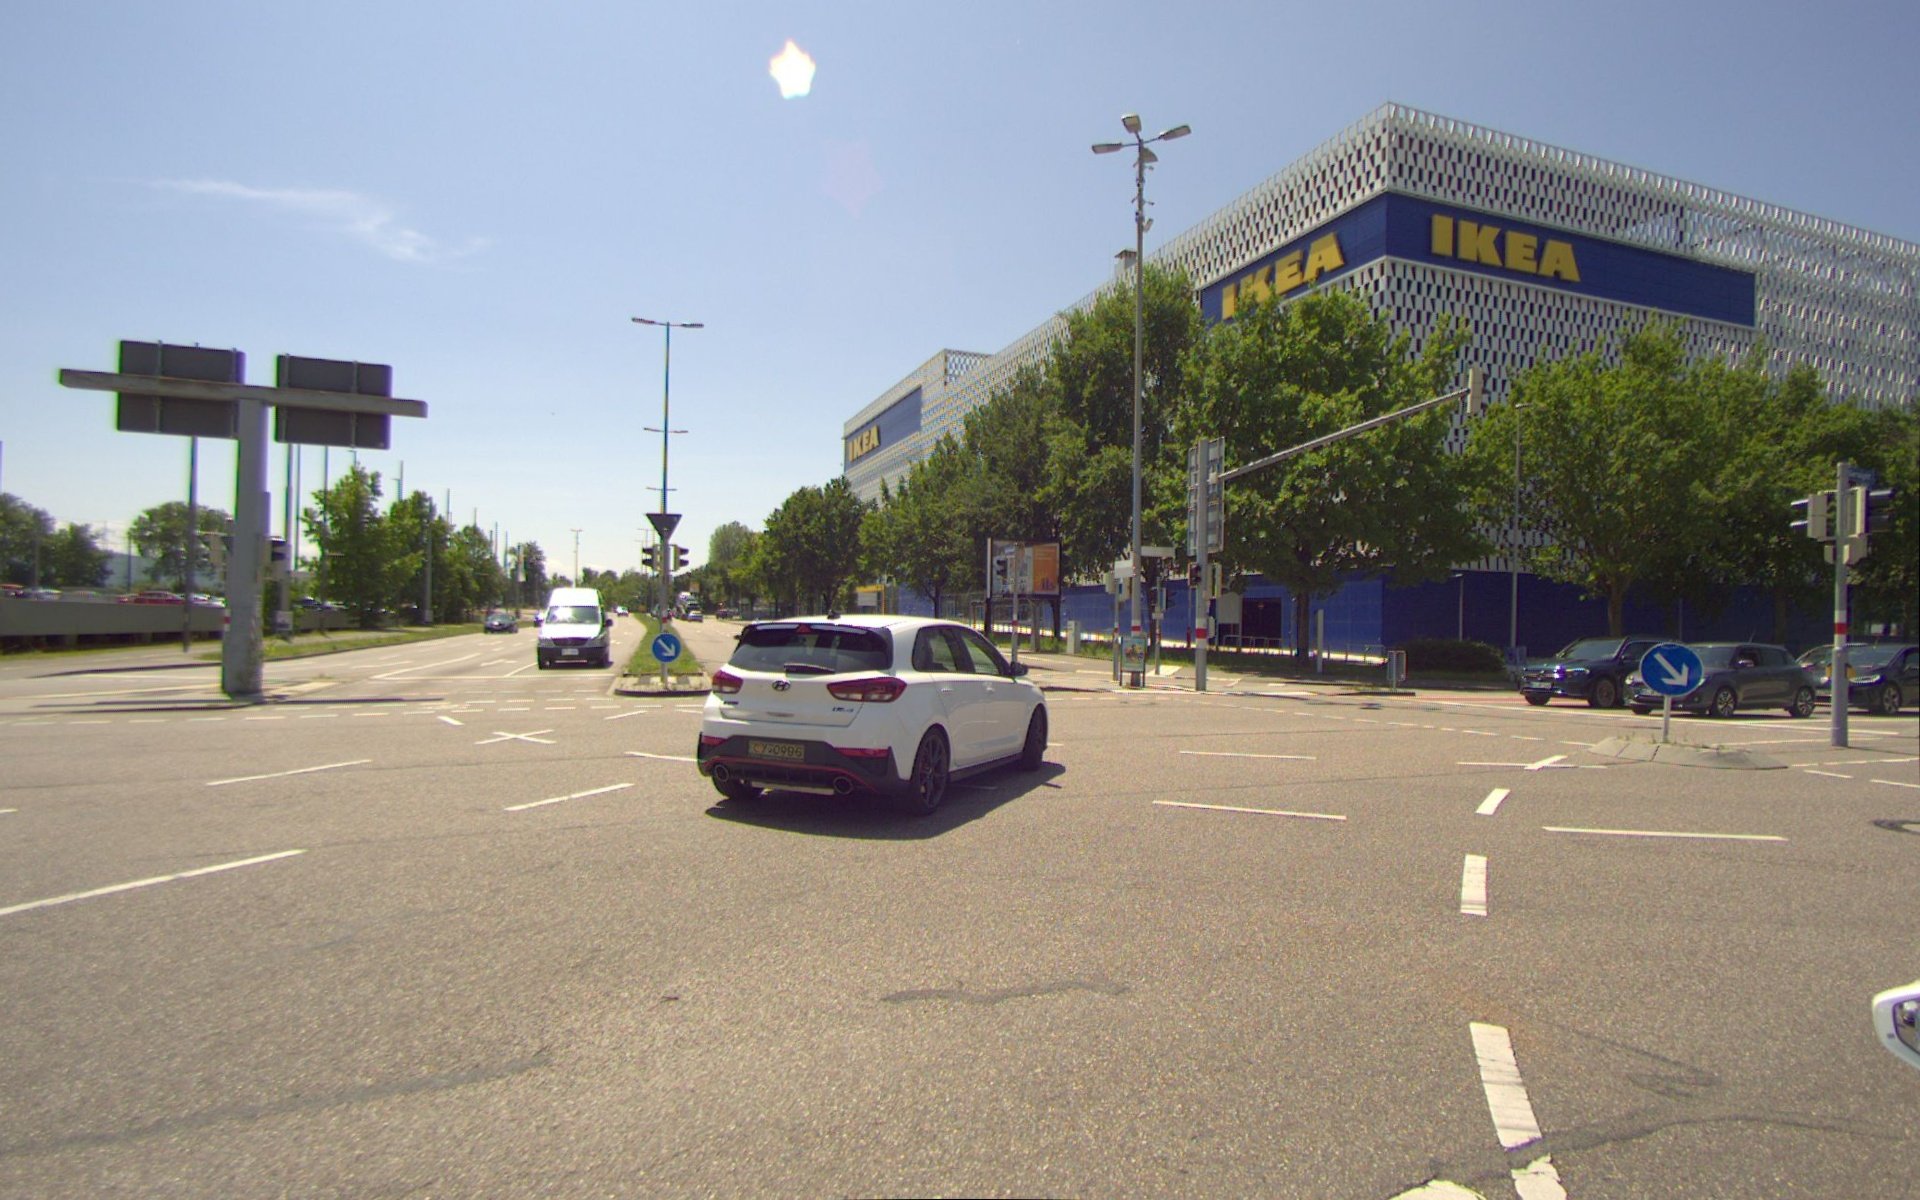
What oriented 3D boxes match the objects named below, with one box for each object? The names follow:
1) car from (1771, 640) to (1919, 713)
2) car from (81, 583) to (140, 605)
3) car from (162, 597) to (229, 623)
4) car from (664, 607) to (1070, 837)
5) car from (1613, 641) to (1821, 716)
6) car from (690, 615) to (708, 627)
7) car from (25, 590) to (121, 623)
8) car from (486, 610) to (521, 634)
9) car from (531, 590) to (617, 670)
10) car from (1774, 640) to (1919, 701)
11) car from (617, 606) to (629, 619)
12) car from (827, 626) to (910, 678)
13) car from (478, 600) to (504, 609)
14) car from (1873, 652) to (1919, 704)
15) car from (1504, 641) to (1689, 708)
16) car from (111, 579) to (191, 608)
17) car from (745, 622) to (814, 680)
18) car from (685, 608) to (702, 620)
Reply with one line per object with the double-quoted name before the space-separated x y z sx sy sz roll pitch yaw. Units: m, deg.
"car" 20.499 1.707 22.537 4.180 1.525 1.724 2 -3 -21
"car" -84.014 -0.557 99.416 3.942 2.040 1.990 2 -1 -22
"car" -63.580 0.875 83.646 3.940 2.040 1.991 2 -1 -21
"car" -0.500 0.828 8.700 1.759 1.455 4.068 1 -1 23
"car" 15.183 1.564 20.171 3.660 1.407 1.642 2 -3 -21
"car" -34.741 2.820 133.681 1.969 1.572 3.984 1 -1 -19
"car" -58.440 0.436 66.263 4.265 2.040 1.990 2 -1 -21
"car" -31.230 1.484 68.798 1.831 1.528 3.983 1 -1 -19
"car" -11.651 0.885 30.640 1.967 2.212 5.032 1 -1 -16
"car" 24.605 1.938 27.686 3.858 1.564 1.724 2 -2 -22
"car" -55.052 2.064 164.122 1.789 2.040 3.982 1 -1 -20
"car" -2.980 1.696 31.799 1.774 1.459 4.543 3 -5 -16
"car" -81.820 0.787 175.253 3.962 1.441 1.684 2 -1 -30
"car" 29.276 2.281 29.603 4.556 1.441 1.743 1 -3 -22
"car" 14.834 1.717 23.422 3.979 1.442 1.658 2 -2 -22
"car" -62.155 -0.457 77.264 4.265 2.040 1.990 2 -1 -21
"car" -4.735 1.310 26.762 1.667 1.441 4.004 0 -2 -8
"car" -37.611 1.980 141.664 1.970 1.572 3.982 1 -1 -20
